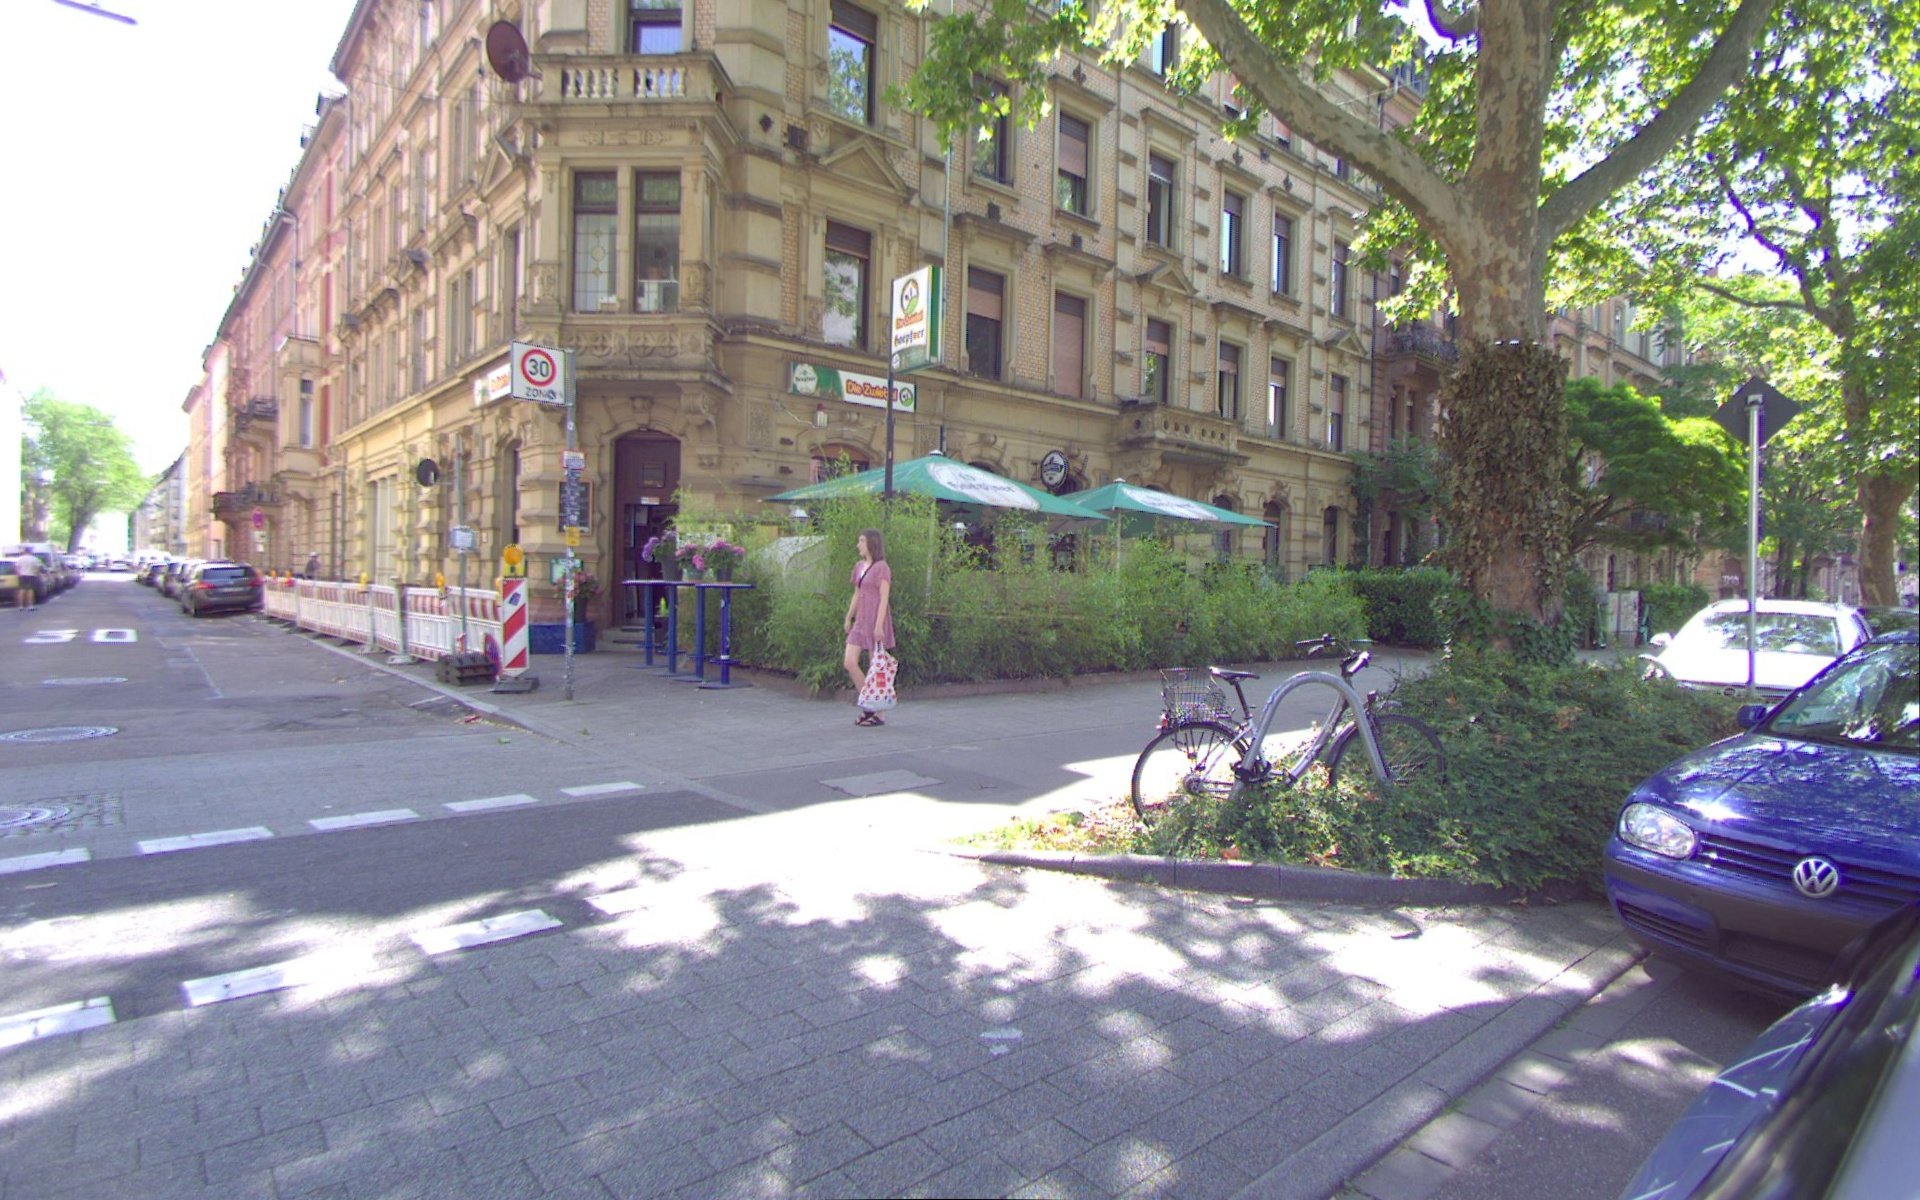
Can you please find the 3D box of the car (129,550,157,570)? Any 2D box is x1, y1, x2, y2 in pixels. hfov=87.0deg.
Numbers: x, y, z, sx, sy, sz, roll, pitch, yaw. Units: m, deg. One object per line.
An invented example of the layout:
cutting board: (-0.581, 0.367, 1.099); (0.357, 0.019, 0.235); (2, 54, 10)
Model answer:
car: (-75.569, -3.726, 93.585); (1.965, 1.760, 3.995); (0, 2, -41)

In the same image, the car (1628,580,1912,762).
car: (8.847, 0.593, 10.904); (4.418, 1.526, 1.835); (0, 2, -44)

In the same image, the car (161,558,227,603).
car: (-31.803, -0.815, 41.971); (1.965, 1.760, 3.995); (0, 2, -41)

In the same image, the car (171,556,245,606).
car: (-28.124, -0.719, 37.809); (1.965, 1.760, 3.995); (0, 2, -41)

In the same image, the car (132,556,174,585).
car: (-50.786, -1.878, 63.663); (1.965, 1.760, 3.995); (0, 2, -41)

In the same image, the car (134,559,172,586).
car: (-55.885, -1.897, 70.059); (1.965, 1.760, 3.995); (0, 2, -41)

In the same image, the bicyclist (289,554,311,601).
bicyclist: (-21.128, -0.720, 32.400); (0.524, 1.471, 0.460); (0, 1, -43)

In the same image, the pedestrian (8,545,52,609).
pedestrian: (-27.170, -0.662, 29.552); (0.921, 1.821, 1.036); (0, 1, -44)

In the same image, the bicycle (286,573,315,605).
bicycle: (-21.097, -0.364, 32.363); (0.530, 0.991, 1.307); (0, 1, -44)

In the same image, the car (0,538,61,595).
car: (-41.192, -1.487, 44.776); (1.879, 2.403, 4.244); (0, 1, -39)

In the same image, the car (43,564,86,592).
car: (-57.616, -1.421, 65.159); (1.879, 1.731, 4.159); (0, 2, -39)

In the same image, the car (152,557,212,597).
car: (-36.043, -1.080, 46.846); (1.965, 1.760, 3.995); (0, 2, -41)

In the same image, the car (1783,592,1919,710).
car: (14.274, 0.689, 15.441); (4.561, 1.526, 1.837); (0, 2, -40)

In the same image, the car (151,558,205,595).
car: (-39.476, -1.201, 51.059); (1.965, 1.760, 3.995); (0, 2, -41)

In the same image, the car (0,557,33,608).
car: (-30.425, -0.588, 31.907); (1.698, 1.548, 3.490); (0, 2, -41)

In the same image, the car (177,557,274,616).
car: (-21.203, -0.430, 29.155); (1.965, 1.571, 3.995); (0, 2, -41)

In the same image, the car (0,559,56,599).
car: (-37.819, -0.862, 41.031); (1.698, 1.548, 3.490); (0, 2, -41)

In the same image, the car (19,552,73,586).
car: (-48.242, -1.644, 53.493); (1.879, 1.731, 4.159); (0, 2, -39)

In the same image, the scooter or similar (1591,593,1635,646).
scooter or similar: (16.026, 0.462, 24.844); (1.124, 1.263, 0.583); (0, 1, -40)

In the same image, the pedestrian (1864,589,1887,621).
pedestrian: (51.141, 0.269, 56.539); (0.951, 1.740, 0.796); (0, 1, -41)

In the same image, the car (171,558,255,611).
car: (-25.123, -0.556, 33.984); (1.965, 1.660, 3.995); (0, 2, -41)

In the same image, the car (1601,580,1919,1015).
car: (4.920, 0.675, 4.374); (4.010, 1.427, 1.891); (1, 1, -28)

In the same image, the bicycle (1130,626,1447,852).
bicycle: (1.759, 0.720, 5.454); (1.583, 1.119, 0.423); (1, 1, -10)

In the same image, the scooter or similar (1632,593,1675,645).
scooter or similar: (18.148, 0.482, 26.477); (1.124, 1.298, 0.583); (0, 1, -39)

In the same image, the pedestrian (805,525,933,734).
pedestrian: (-0.839, 0.235, 9.291); (0.837, 1.807, 0.738); (0, 3, -41)

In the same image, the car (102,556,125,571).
car: (-97.206, -4.193, 116.181); (1.965, 1.760, 3.995); (0, 2, -41)
